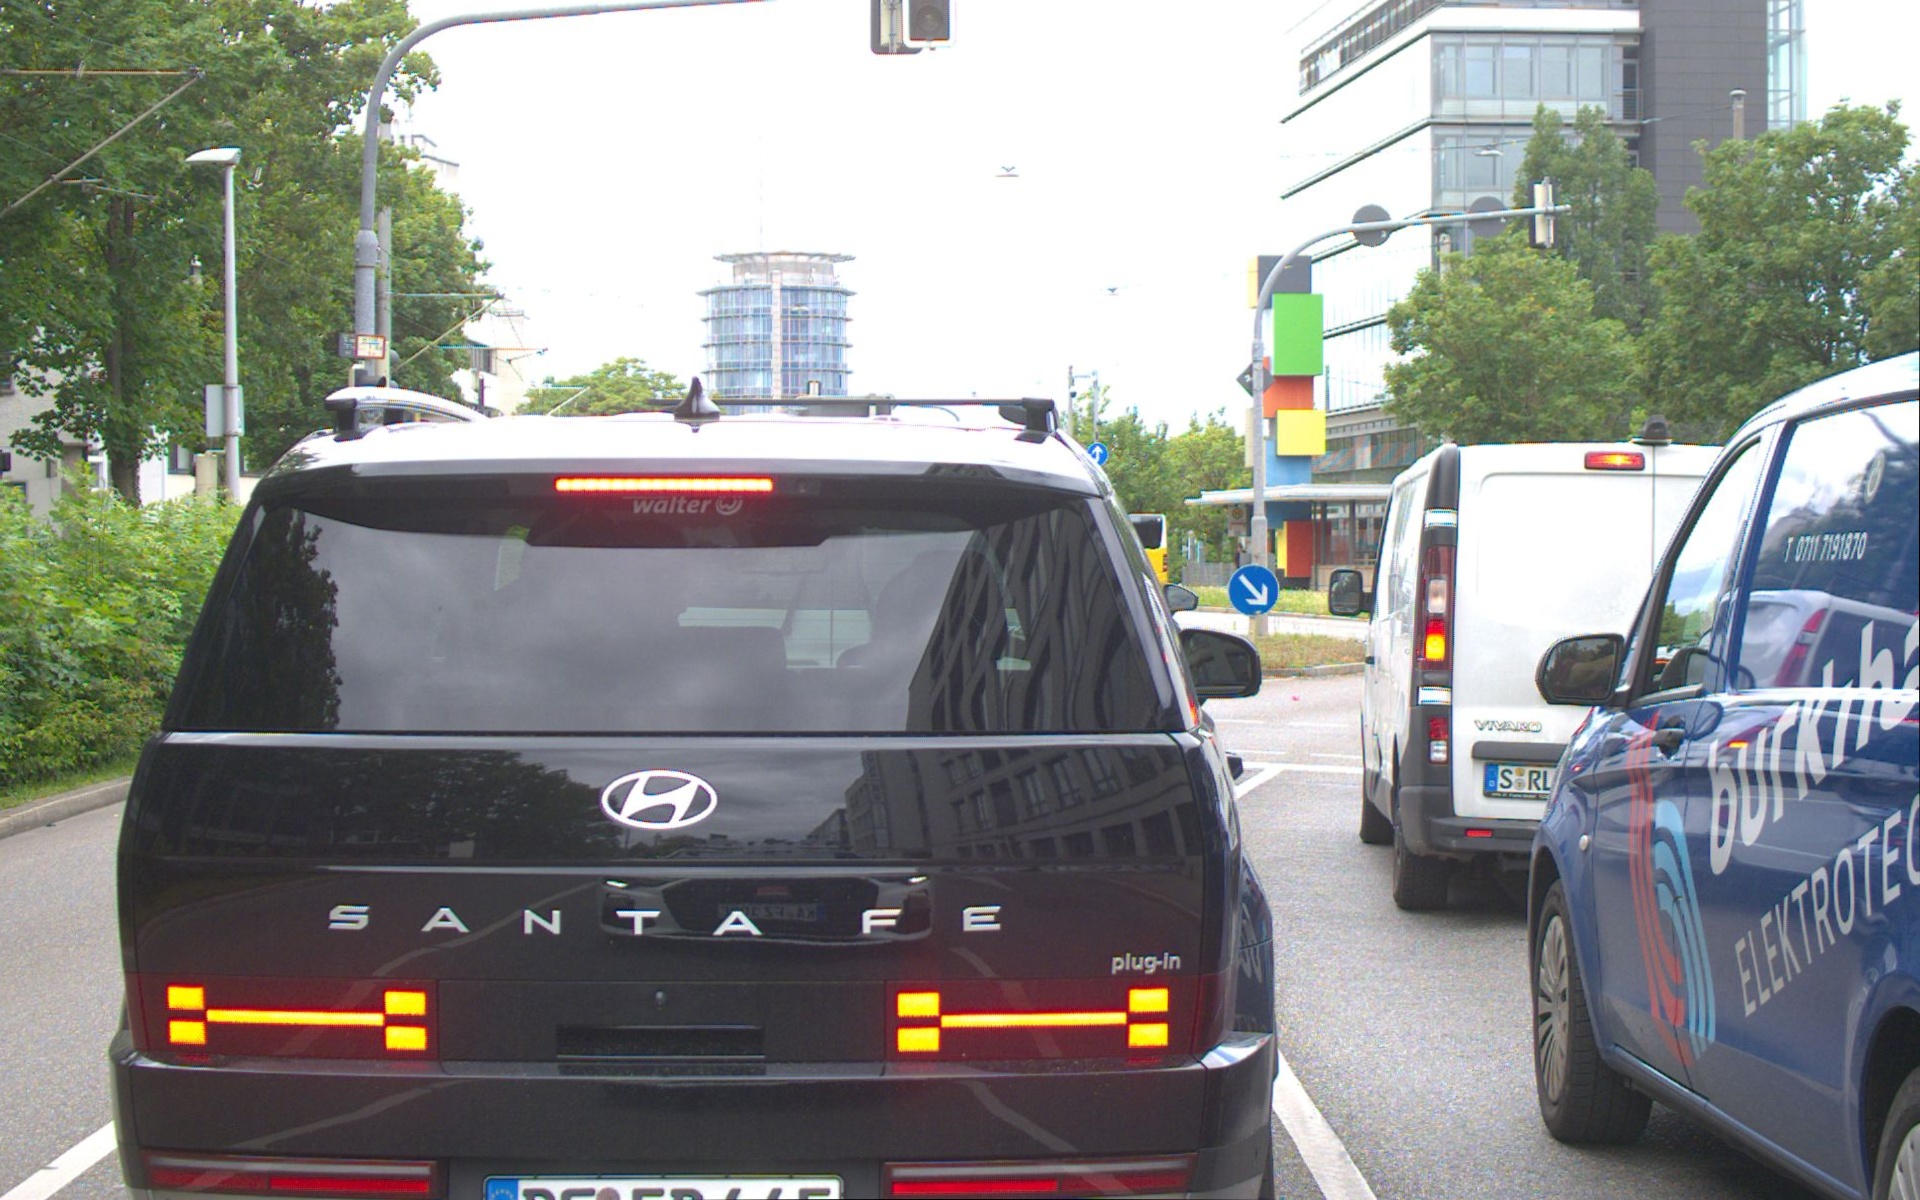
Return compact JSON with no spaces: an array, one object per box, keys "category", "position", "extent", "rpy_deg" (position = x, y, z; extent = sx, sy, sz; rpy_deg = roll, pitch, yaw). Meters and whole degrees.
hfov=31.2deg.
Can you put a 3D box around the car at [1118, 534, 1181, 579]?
[{"category":"car","position":[7.245,-1.654,131.808],"extent":[1.993,1.678,4.000],"rpy_deg":[0,0,-3]}]

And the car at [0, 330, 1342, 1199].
[{"category":"car","position":[-0.435,0.479,6.614],"extent":[1.869,1.754,3.880],"rpy_deg":[0,1,-1]}]

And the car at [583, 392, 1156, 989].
[{"category":"car","position":[-0.326,0.270,13.474],"extent":[1.915,1.996,3.880],"rpy_deg":[0,1,-1]}]

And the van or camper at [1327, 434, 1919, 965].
[{"category":"van or camper","position":[2.777,0.338,15.457],"extent":[1.994,2.007,4.652],"rpy_deg":[1,1,3]}]

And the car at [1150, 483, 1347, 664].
[{"category":"car","position":[3.336,-0.308,40.441],"extent":[1.993,2.007,4.000],"rpy_deg":[0,0,1]}]

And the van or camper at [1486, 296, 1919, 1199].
[{"category":"van or camper","position":[2.381,0.458,6.811],"extent":[1.859,1.904,5.032],"rpy_deg":[0,1,-1]}]

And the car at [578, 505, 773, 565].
[{"category":"car","position":[-7.823,-1.783,94.496],"extent":[5.281,1.590,2.000],"rpy_deg":[0,0,-6]}]

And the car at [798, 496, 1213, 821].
[{"category":"car","position":[0.391,0.290,20.481],"extent":[1.776,1.711,4.336],"rpy_deg":[1,0,10]}]
